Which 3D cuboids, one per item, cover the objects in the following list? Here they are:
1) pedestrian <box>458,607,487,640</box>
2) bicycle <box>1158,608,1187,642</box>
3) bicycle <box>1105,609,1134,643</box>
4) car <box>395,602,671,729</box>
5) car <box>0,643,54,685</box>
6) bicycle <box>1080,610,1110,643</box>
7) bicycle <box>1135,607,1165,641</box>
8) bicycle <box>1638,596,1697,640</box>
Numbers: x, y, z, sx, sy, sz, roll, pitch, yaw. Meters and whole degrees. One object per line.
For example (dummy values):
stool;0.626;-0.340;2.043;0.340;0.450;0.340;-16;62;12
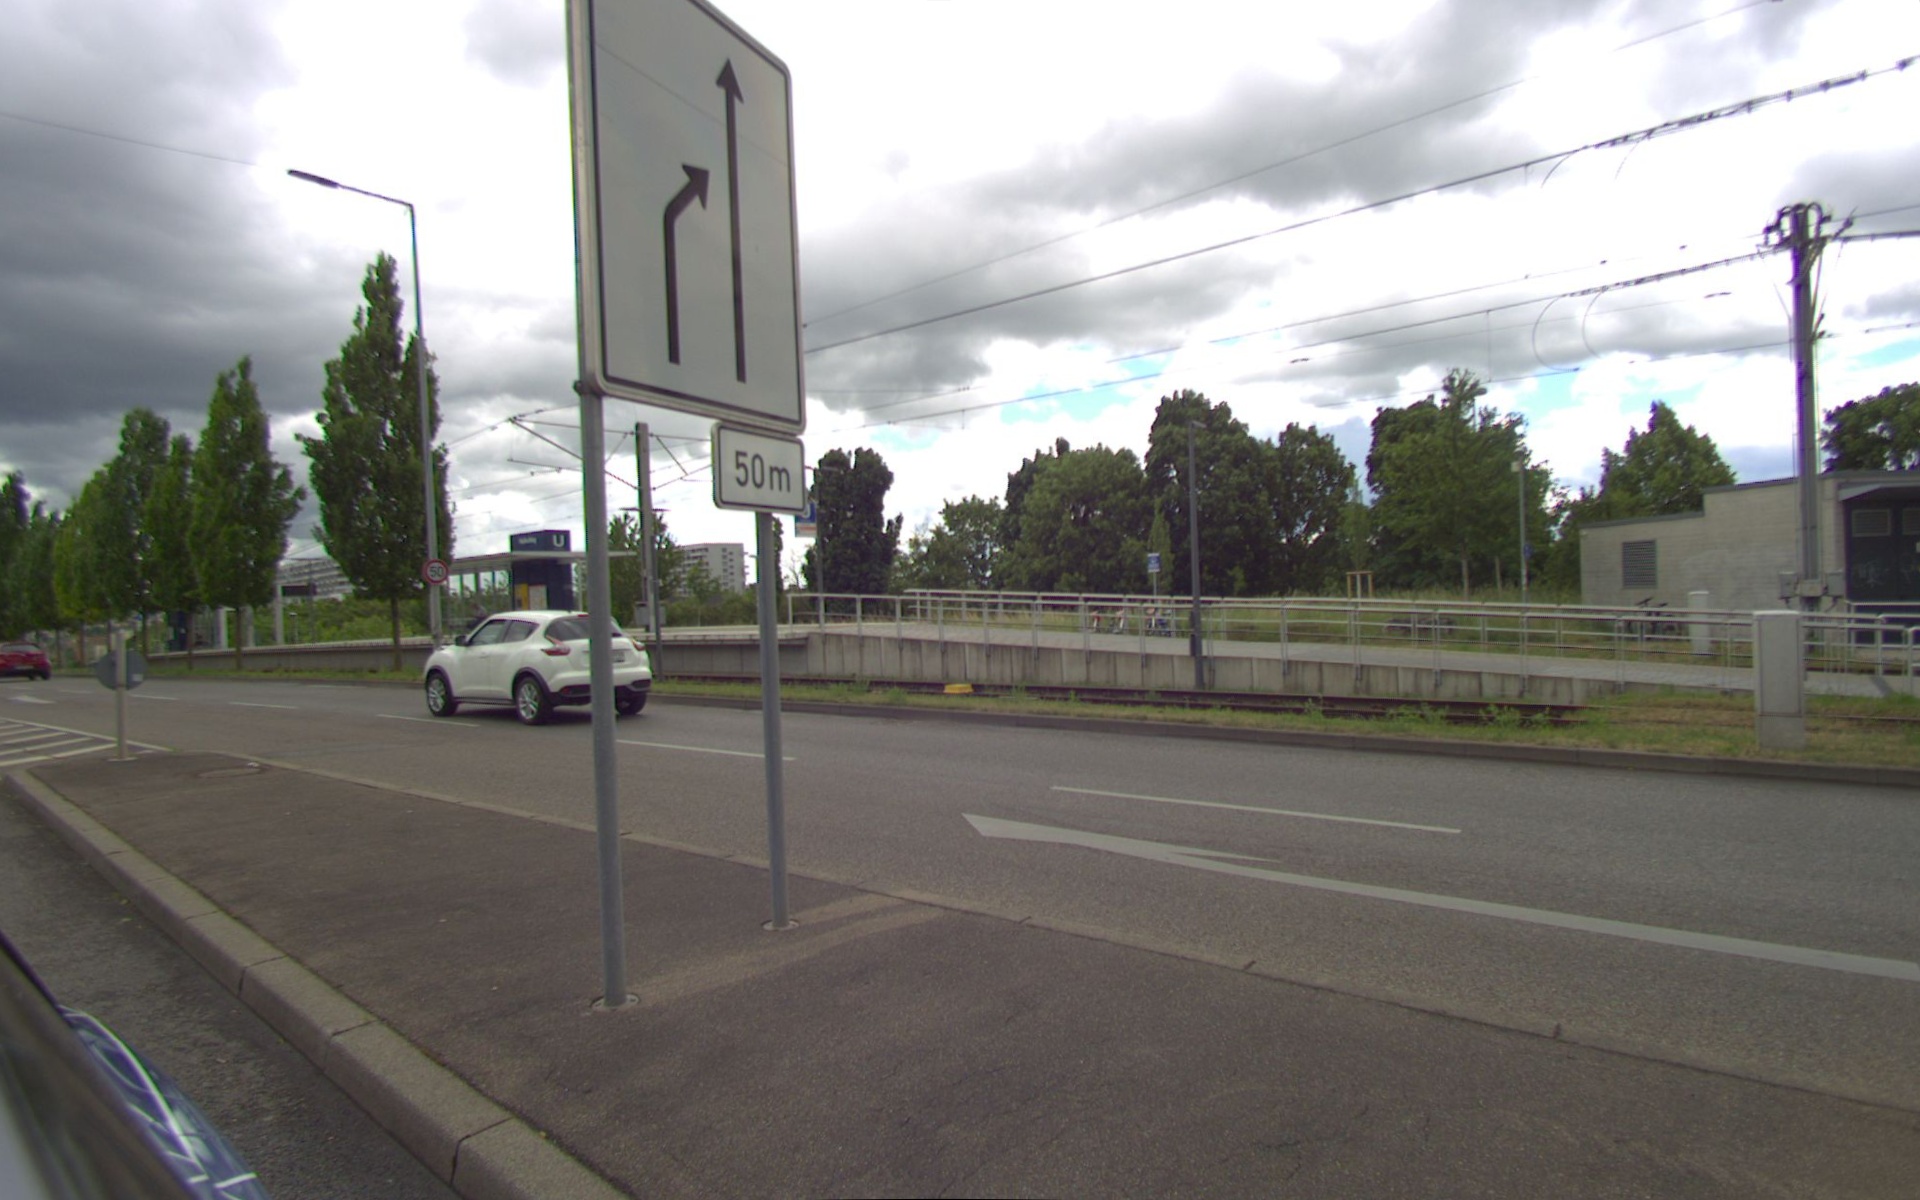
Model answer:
pedestrian;-18.248;0.883;37.869;0.781;1.211;0.656;-2;-1;33
bicycle;7.048;0.818;33.463;0.490;1.095;1.466;-2;-1;30
bicycle;5.443;0.870;34.454;0.490;1.095;1.466;-2;-1;30
car;-6.458;0.895;15.120;4.417;1.641;1.812;-1;-1;36
car;-35.852;2.404;38.059;4.417;1.454;1.765;-3;-1;36
bicycle;4.686;0.910;35.156;0.490;1.095;1.466;-2;-1;30
bicycle;6.383;0.807;33.943;0.490;1.095;1.466;-2;-1;30
bicycle;18.197;0.459;26.054;0.486;1.095;1.480;-1;-1;3
